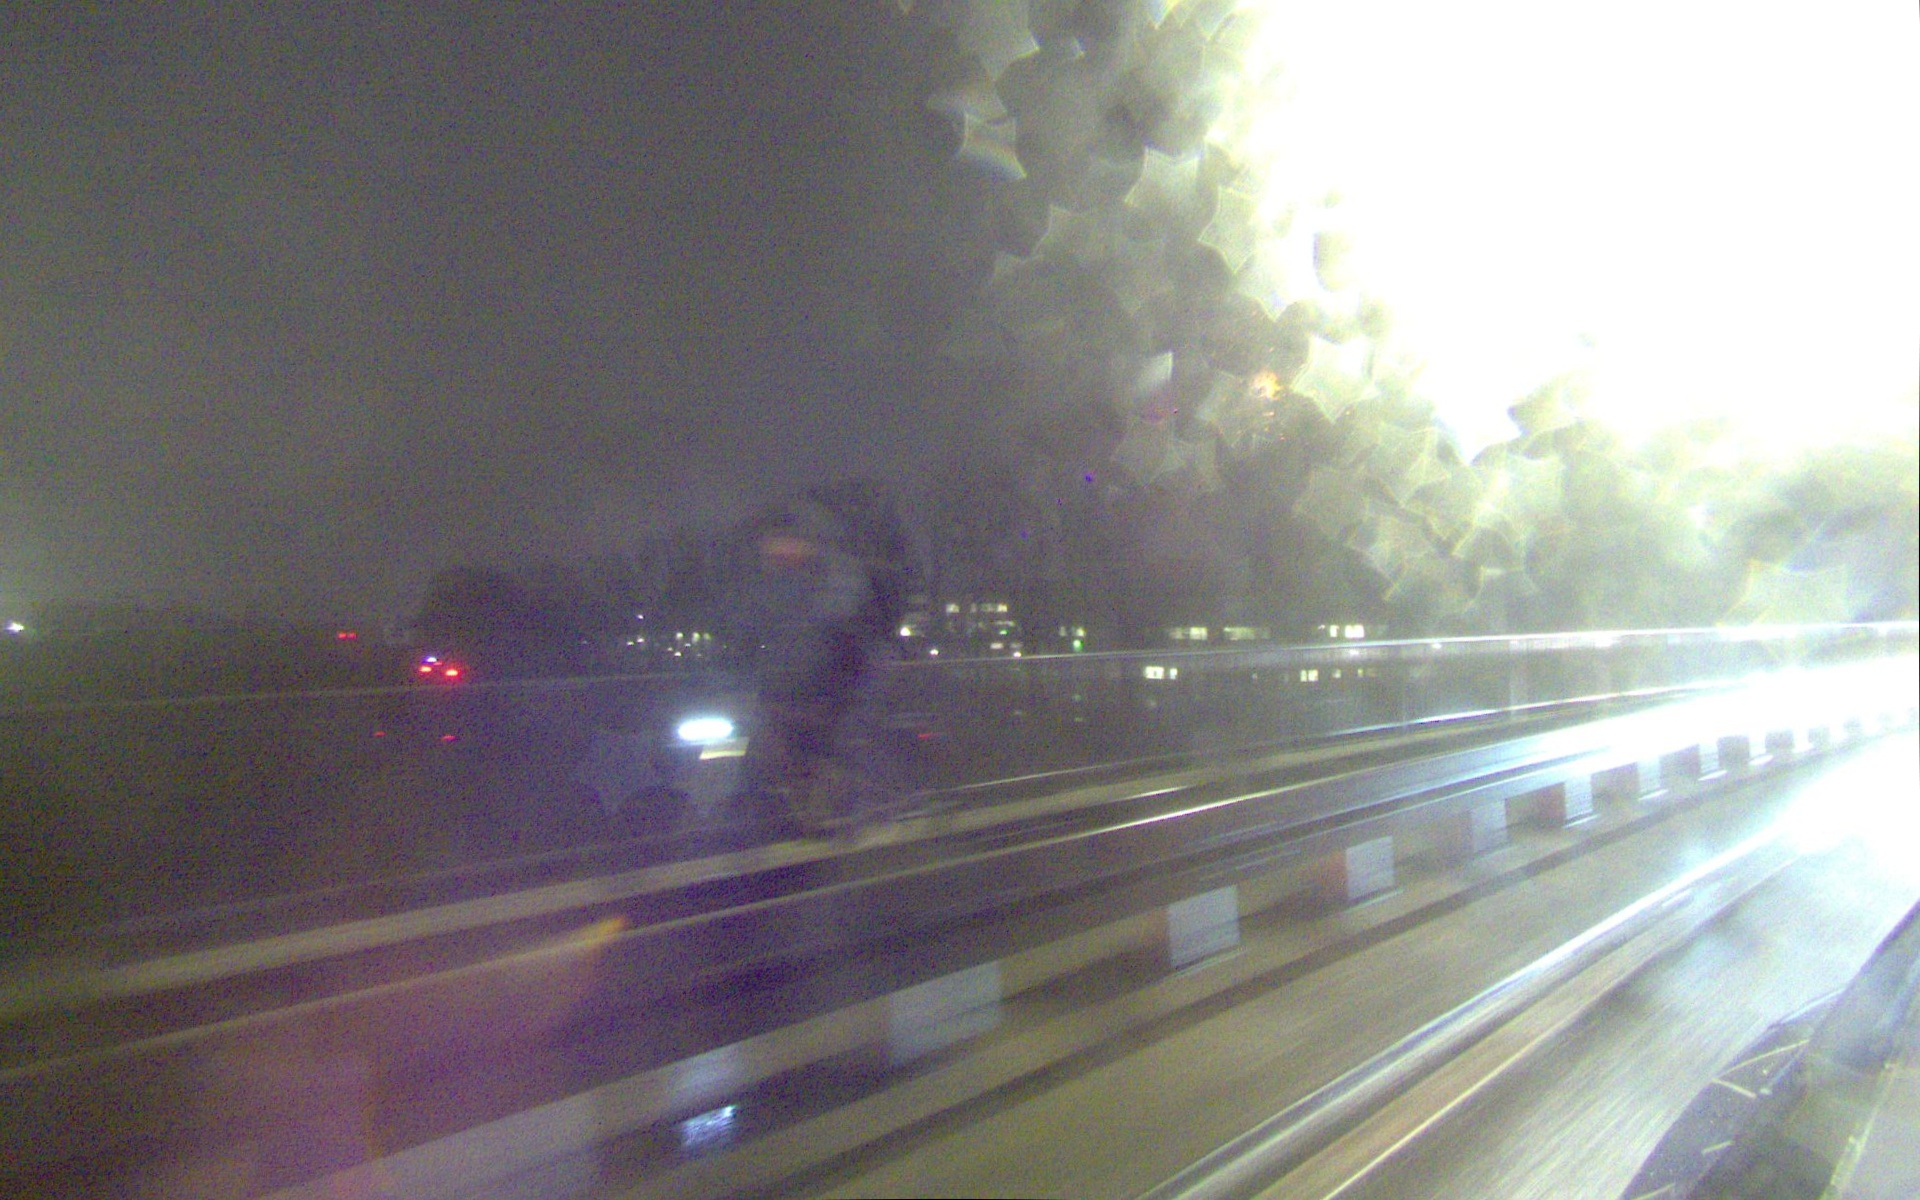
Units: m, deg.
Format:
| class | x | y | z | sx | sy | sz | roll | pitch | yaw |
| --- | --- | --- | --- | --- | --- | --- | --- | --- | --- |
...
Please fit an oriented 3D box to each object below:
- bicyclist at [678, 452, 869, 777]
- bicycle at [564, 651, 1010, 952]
| class | x | y | z | sx | sy | sz | roll | pitch | yaw |
| --- | --- | --- | --- | --- | --- | --- | --- | --- | --- |
| bicyclist | -0.856 | 0.059 | 4.676 | 0.751 | 1.366 | 0.453 | 0 | -1 | -40 |
| bicycle | -0.708 | 0.823 | 4.791 | 2.133 | 1.047 | 0.485 | -1 | 1 | -40 |
